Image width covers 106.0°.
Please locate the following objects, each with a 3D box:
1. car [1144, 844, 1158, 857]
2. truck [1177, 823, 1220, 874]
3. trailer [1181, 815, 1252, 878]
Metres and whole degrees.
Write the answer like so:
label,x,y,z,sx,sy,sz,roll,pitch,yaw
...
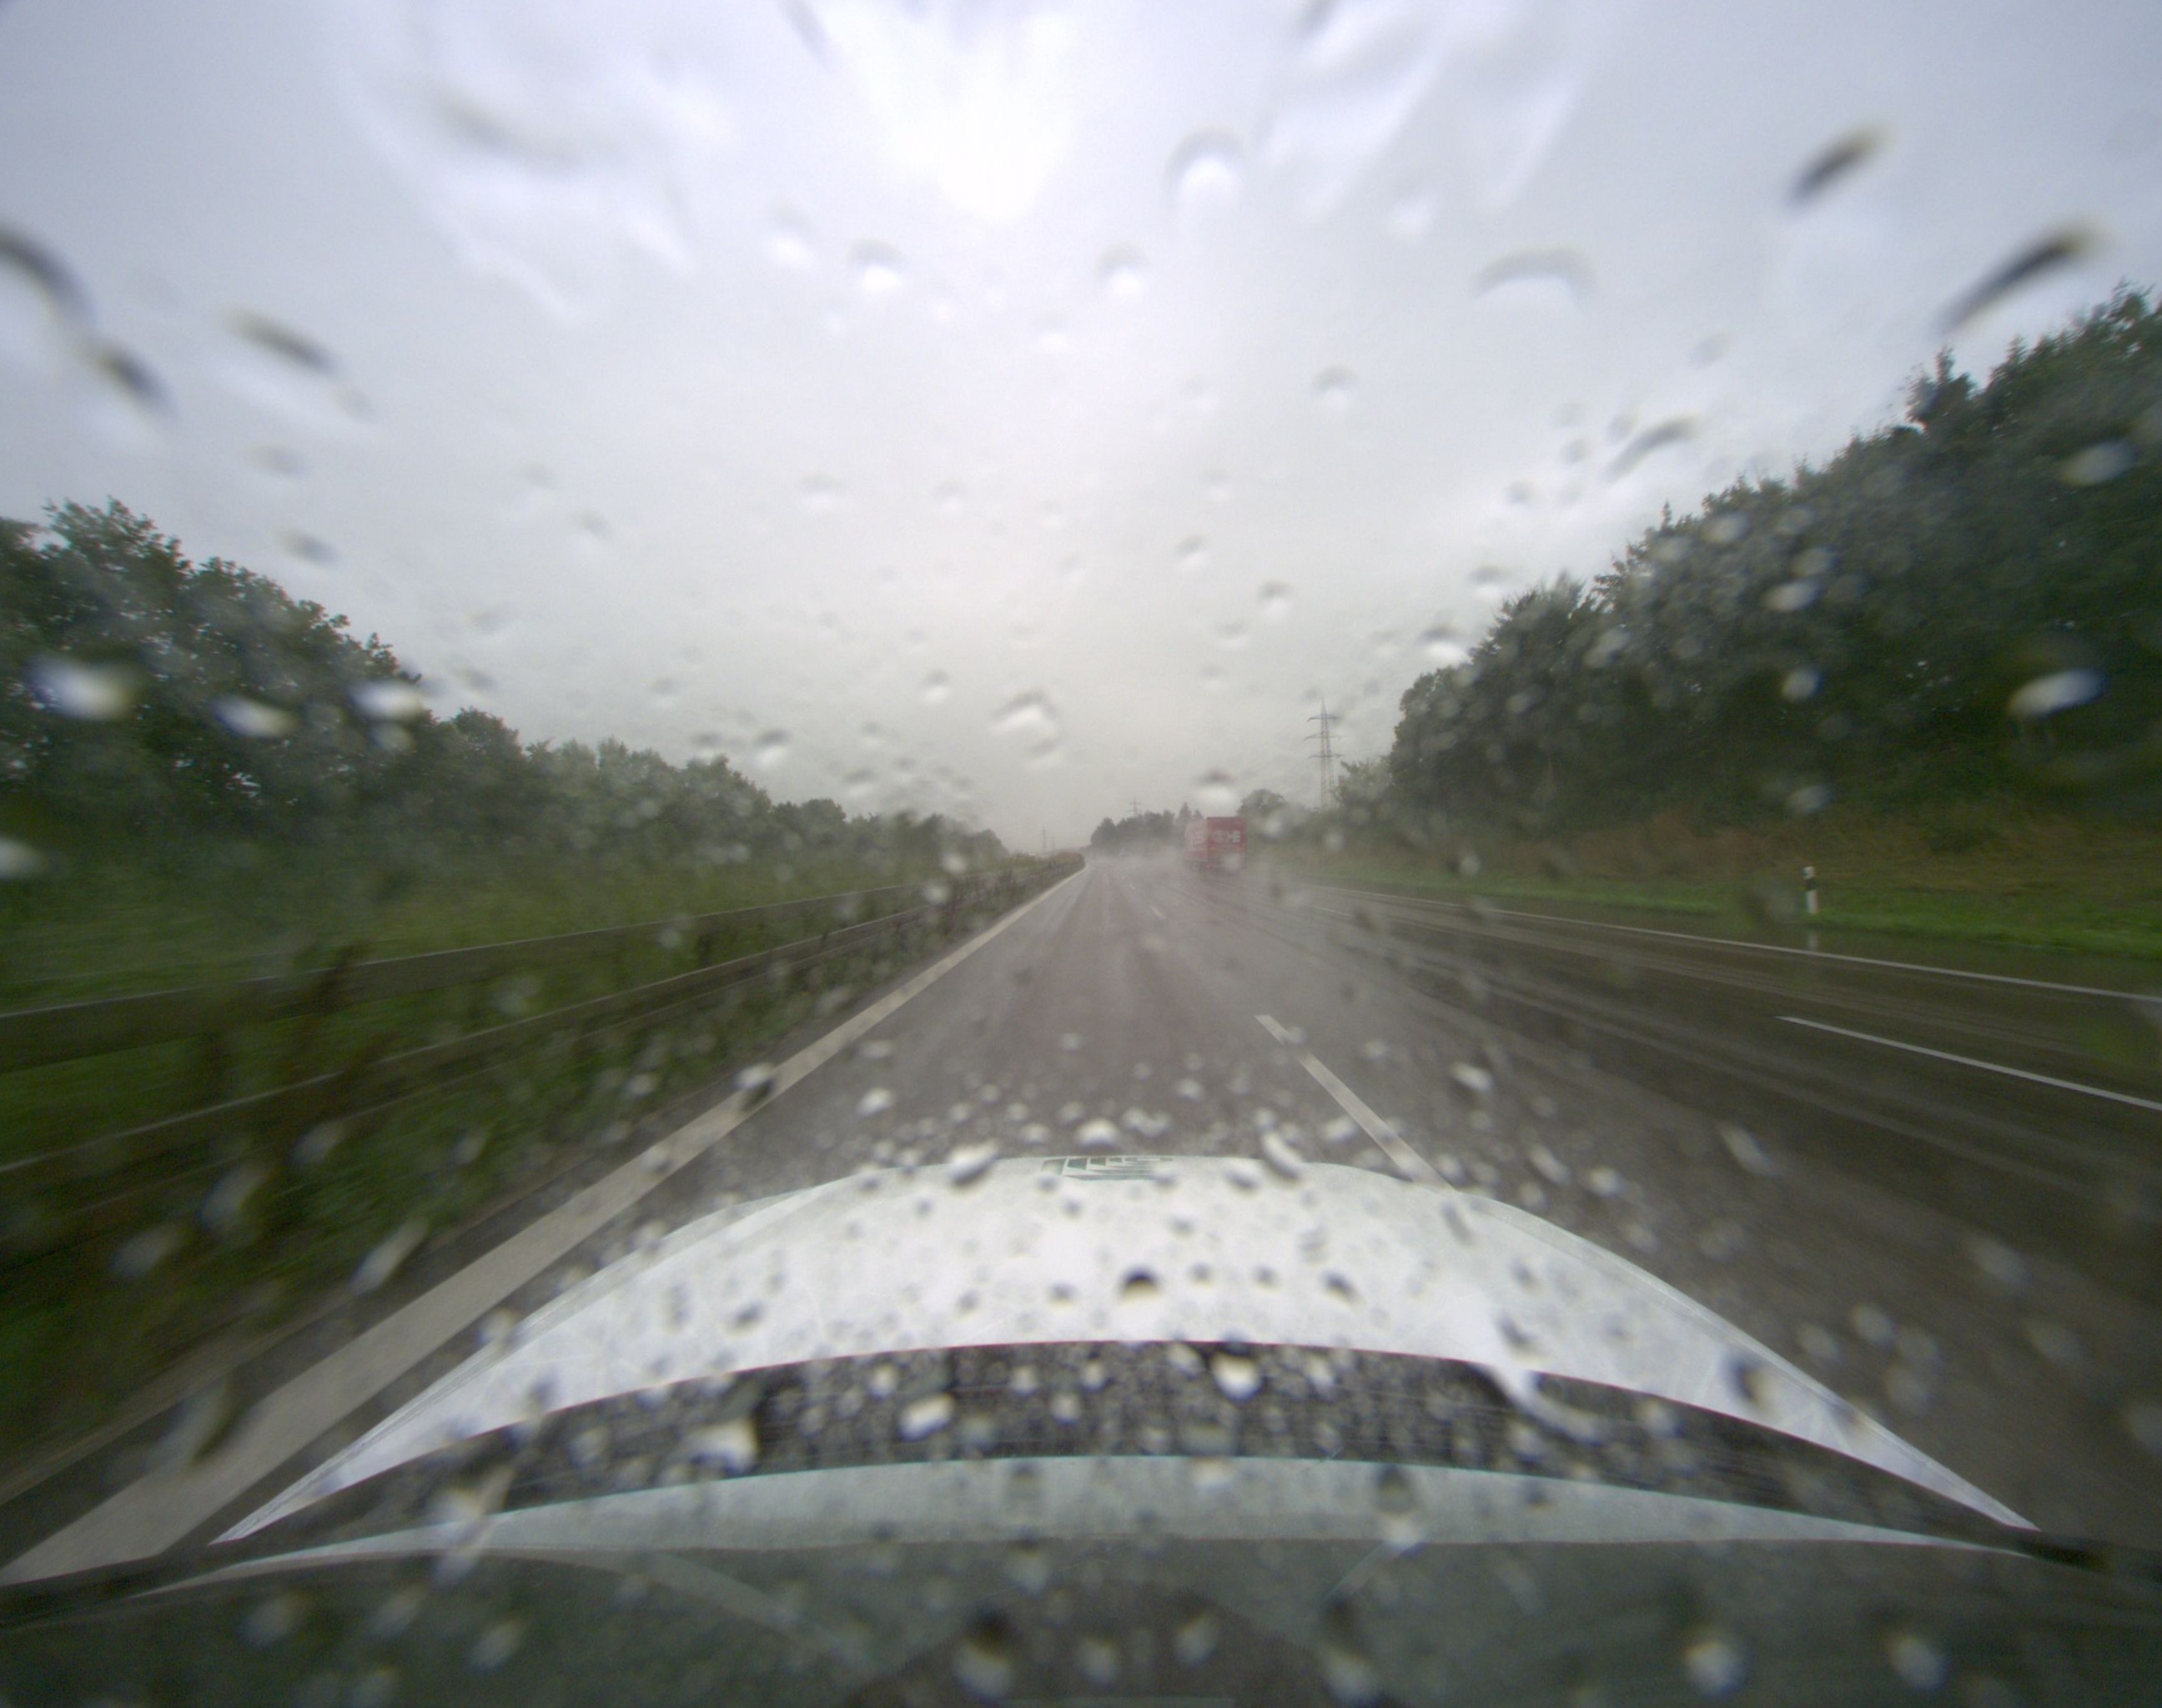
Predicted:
label,x,y,z,sx,sy,sz,roll,pitch,yaw
car,11.650,-0.566,136.342,1.802,2.158,3.997,-4,0,-2
truck,9.773,-0.415,68.042,2.611,3.955,5.433,-4,0,0
trailer,9.765,-0.469,60.460,2.612,3.955,13.626,-4,0,0
